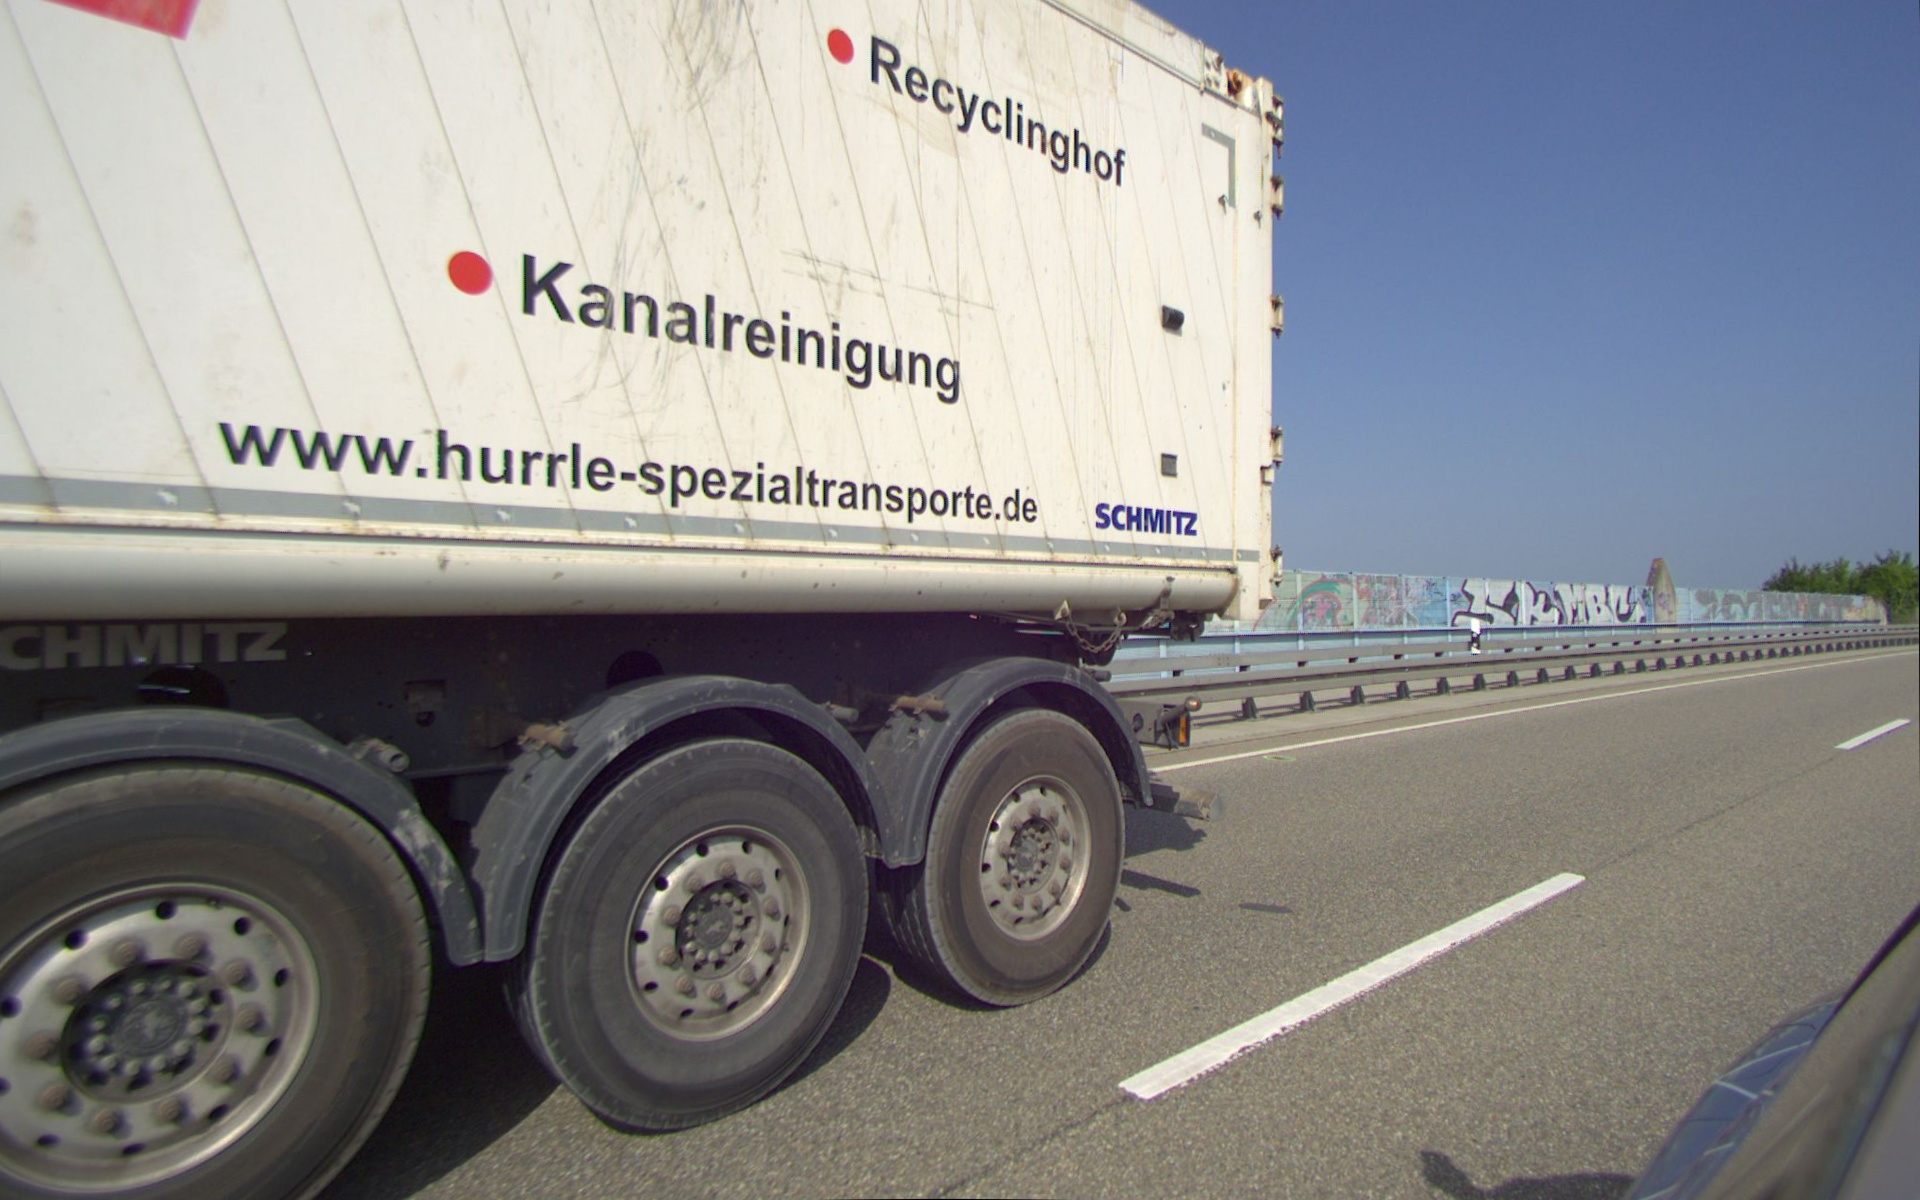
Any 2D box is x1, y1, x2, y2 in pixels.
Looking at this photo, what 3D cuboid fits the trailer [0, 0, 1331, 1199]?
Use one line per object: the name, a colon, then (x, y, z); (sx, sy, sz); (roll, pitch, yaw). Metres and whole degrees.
trailer: (-2.717, -0.566, 2.634); (9.503, 3.957, 2.684); (0, 0, -41)
